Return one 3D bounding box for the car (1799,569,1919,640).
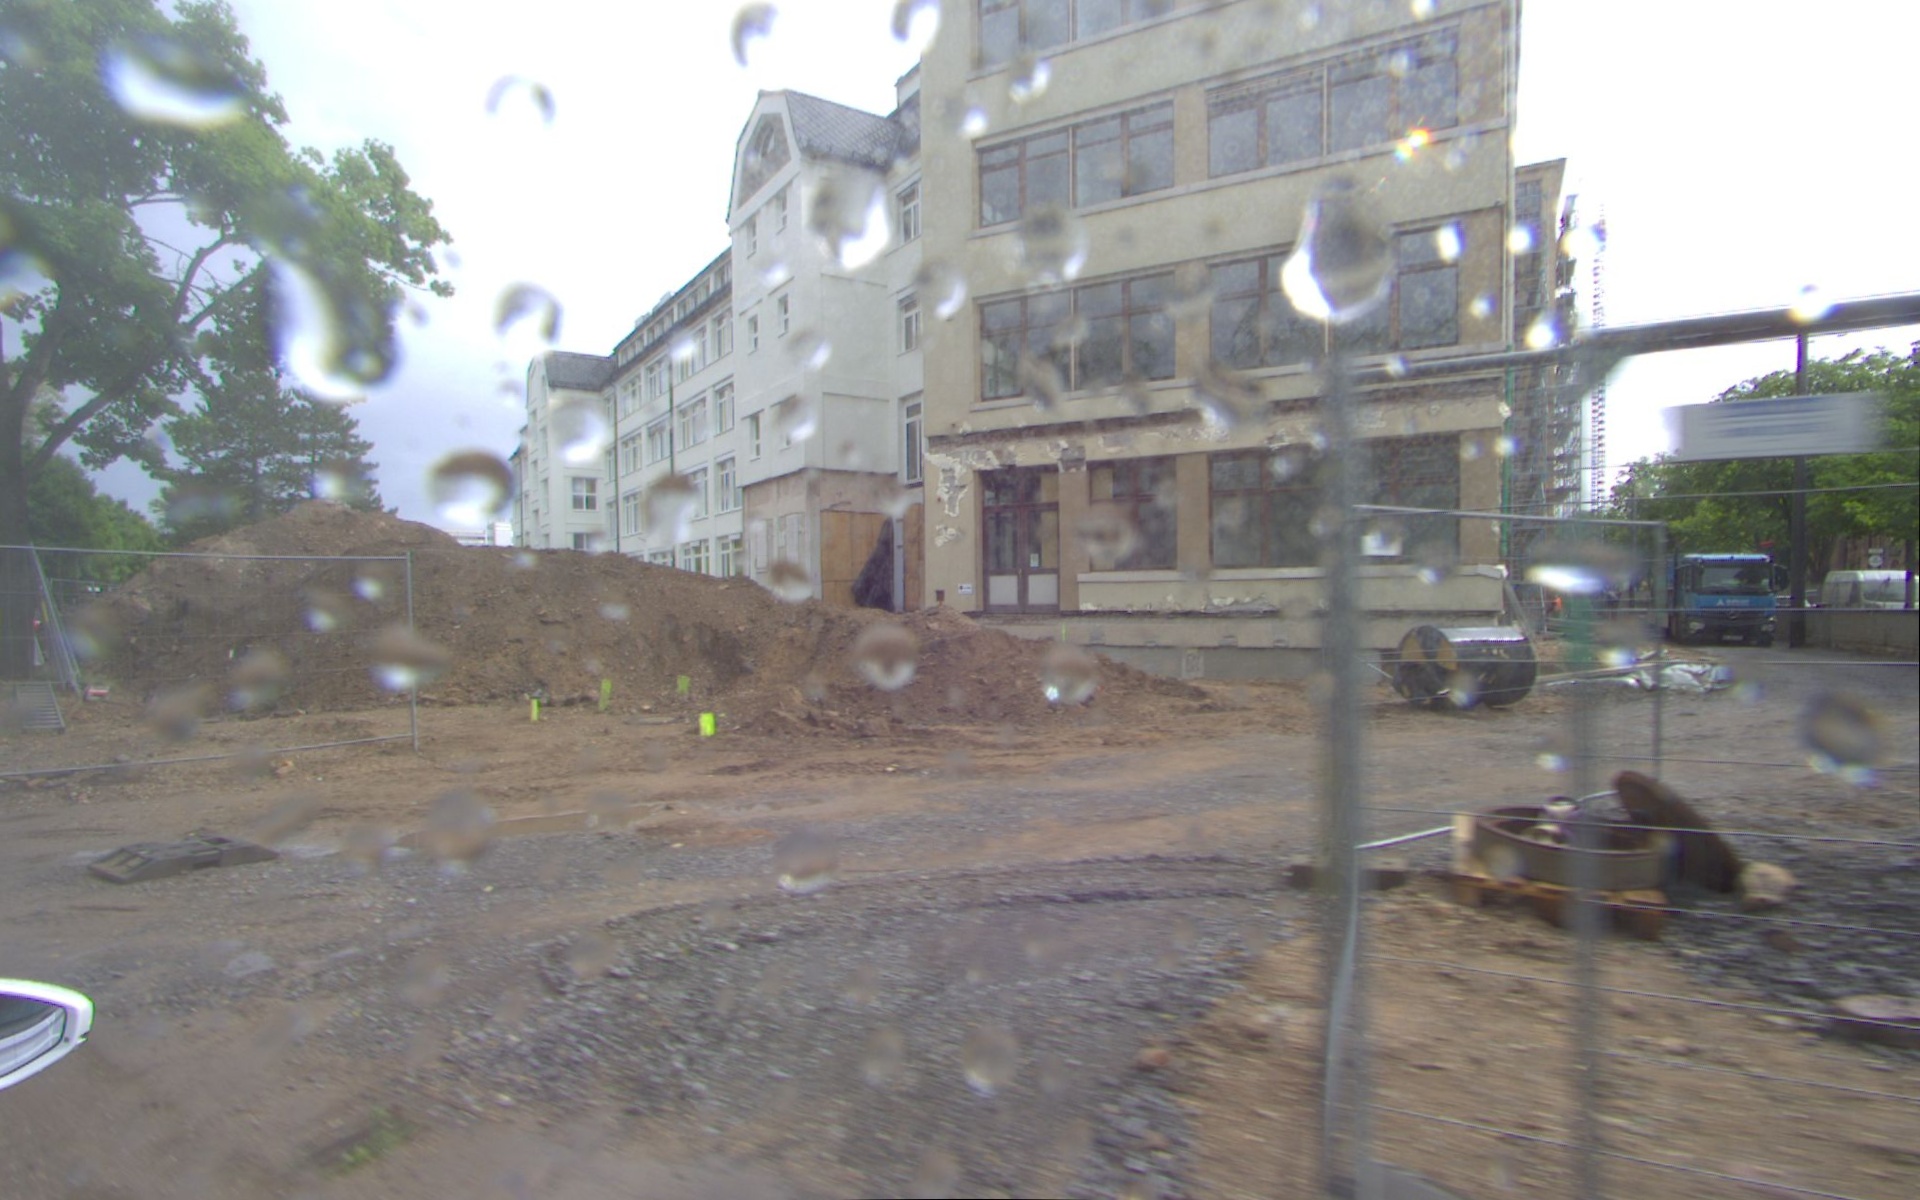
[{"bbox_3d":[35.103,0.195,38.803,2.555,2.506,6.131,2,0,27],"label":"car"}]

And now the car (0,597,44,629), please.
[{"bbox_3d":[-51.189,0.697,53.268,3.561,1.642,1.852,2,0,-41],"label":"car"}]

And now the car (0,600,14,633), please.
[{"bbox_3d":[-47.898,0.769,47.696,3.910,1.537,1.791,2,0,-38],"label":"car"}]

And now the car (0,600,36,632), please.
[{"bbox_3d":[-49.667,0.772,50.778,3.952,1.580,1.750,2,0,-37],"label":"car"}]

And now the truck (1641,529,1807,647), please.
[{"bbox_3d":[26.684,-0.315,35.525,3.193,3.574,9.868,2,0,29],"label":"truck"}]

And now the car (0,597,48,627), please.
[{"bbox_3d":[-52.755,0.639,54.951,3.824,1.594,1.942,2,0,-38],"label":"car"}]
